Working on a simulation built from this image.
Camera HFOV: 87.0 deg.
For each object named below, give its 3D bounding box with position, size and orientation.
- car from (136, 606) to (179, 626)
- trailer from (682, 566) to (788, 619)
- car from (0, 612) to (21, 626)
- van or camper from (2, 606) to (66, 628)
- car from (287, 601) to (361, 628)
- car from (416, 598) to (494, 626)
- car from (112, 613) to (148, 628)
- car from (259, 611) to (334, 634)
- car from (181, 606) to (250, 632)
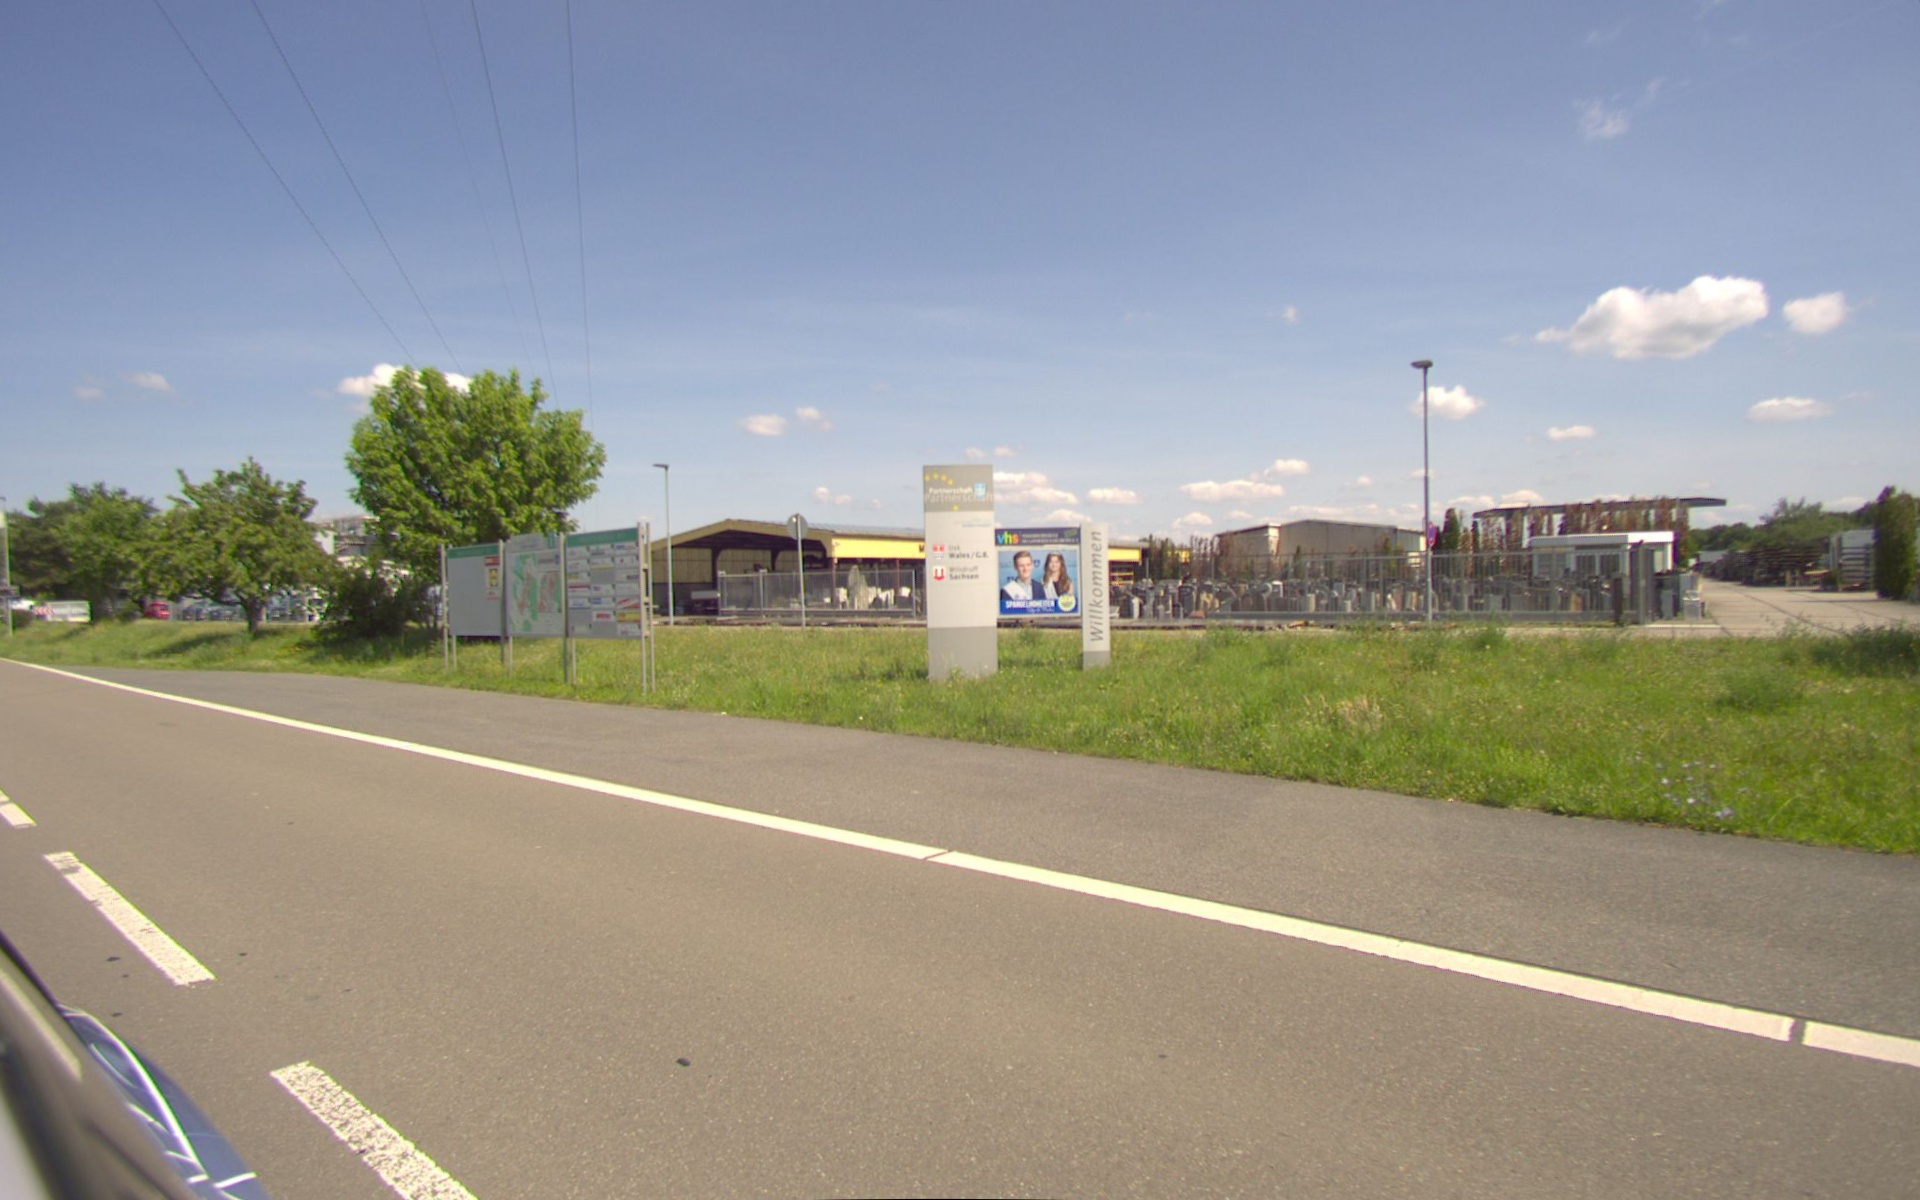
[{"bbox_3d":[-74.978,1.519,94.526,4.220,1.757,1.976,-1,1,35],"label":"car"},{"bbox_3d":[-12.796,-0.470,57.898,2.733,2.846,5.517,-1,1,34],"label":"trailer"},{"bbox_3d":[-111.985,2.262,117.667,2.000,1.530,3.943,0,1,43],"label":"car"},{"bbox_3d":[-117.543,2.105,128.516,5.492,2.516,2.085,-2,1,-26],"label":"van or camper"},{"bbox_3d":[-40.844,0.897,65.097,1.920,1.552,3.991,-2,1,8],"label":"car"},{"bbox_3d":[-27.694,0.628,55.687,1.920,1.320,3.991,-2,1,8],"label":"car"},{"bbox_3d":[-84.953,2.072,103.594,4.512,1.418,1.974,-1,1,40],"label":"car"},{"bbox_3d":[-43.728,1.461,66.792,1.921,1.320,3.989,-2,1,9],"label":"car"},{"bbox_3d":[-54.410,1.370,74.037,1.703,1.717,4.099,-2,1,8],"label":"car"}]
